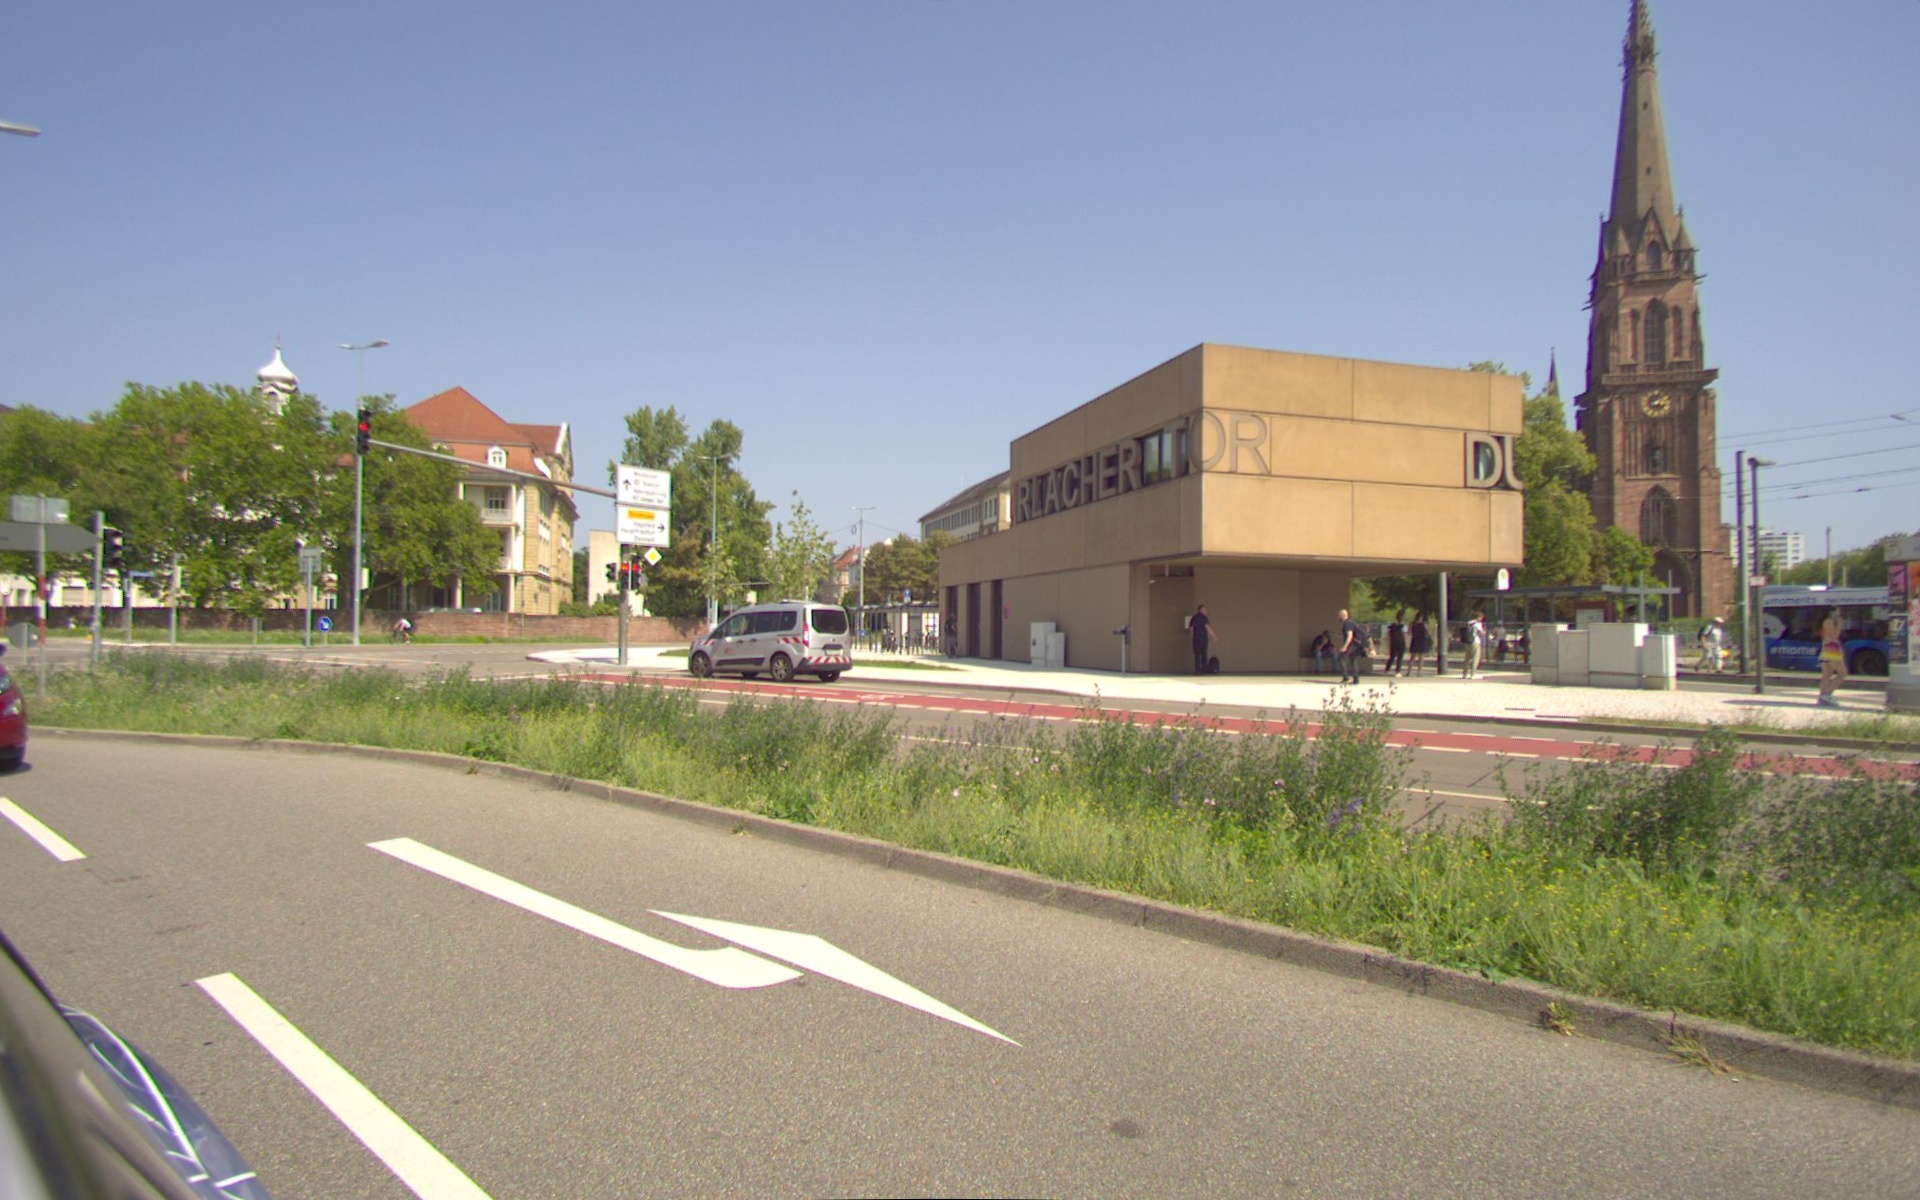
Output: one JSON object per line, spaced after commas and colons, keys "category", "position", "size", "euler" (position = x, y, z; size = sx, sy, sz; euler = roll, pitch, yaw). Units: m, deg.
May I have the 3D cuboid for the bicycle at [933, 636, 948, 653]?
{"category": "bicycle", "position": [-1.213, 2.769, 63.164], "size": [0.518, 1.048, 1.775], "euler": [2, -3, -14]}

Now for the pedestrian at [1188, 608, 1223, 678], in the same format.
{"category": "pedestrian", "position": [6.117, 1.073, 25.257], "size": [0.737, 1.701, 0.632], "euler": [1, -2, 2]}

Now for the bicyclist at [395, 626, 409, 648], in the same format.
{"category": "bicyclist", "position": [-32.343, 2.145, 58.636], "size": [0.429, 1.242, 0.538], "euler": [0, -2, 16]}

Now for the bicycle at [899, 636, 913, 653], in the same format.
{"category": "bicycle", "position": [-3.309, 2.739, 62.091], "size": [0.518, 1.048, 1.775], "euler": [2, -3, -14]}

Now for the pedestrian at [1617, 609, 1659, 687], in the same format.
{"category": "pedestrian", "position": [15.653, 1.109, 23.373], "size": [0.685, 1.776, 0.553], "euler": [2, -2, -30]}

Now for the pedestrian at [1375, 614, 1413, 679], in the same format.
{"category": "pedestrian", "position": [11.172, 1.193, 26.065], "size": [0.628, 1.626, 0.694], "euler": [1, -2, -11]}

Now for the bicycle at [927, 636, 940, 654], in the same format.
{"category": "bicycle", "position": [-1.615, 2.698, 60.495], "size": [0.406, 1.048, 1.645], "euler": [2, -3, -14]}

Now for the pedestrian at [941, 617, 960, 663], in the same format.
{"category": "pedestrian", "position": [-0.352, 1.469, 37.429], "size": [0.559, 1.691, 0.537], "euler": [1, -3, -17]}

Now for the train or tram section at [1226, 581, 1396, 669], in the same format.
{"category": "train or tram section", "position": [15.918, 1.278, 46.731], "size": [3.091, 3.597, 8.269], "euler": [3, -4, -17]}

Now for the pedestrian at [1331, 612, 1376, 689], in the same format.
{"category": "pedestrian", "position": [8.983, 1.141, 23.097], "size": [0.809, 1.715, 0.638], "euler": [-1, -2, 40]}

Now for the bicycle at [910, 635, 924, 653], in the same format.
{"category": "bicycle", "position": [-2.652, 2.695, 62.326], "size": [0.518, 1.048, 1.775], "euler": [2, -3, -14]}

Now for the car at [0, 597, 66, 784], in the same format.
{"category": "car", "position": [-10.345, 0.793, 9.278], "size": [3.978, 1.627, 1.830], "euler": [0, 0, 26]}

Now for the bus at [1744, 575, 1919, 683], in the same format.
{"category": "bus", "position": [29.342, 0.817, 28.088], "size": [3.054, 3.094, 12.519], "euler": [1, -2, -17]}

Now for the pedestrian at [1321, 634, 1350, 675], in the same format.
{"category": "pedestrian", "position": [10.143, 1.461, 27.313], "size": [0.531, 1.092, 0.502], "euler": [1, -2, -18]}

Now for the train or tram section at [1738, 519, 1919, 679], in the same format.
{"category": "train or tram section", "position": [23.229, 0.023, 23.164], "size": [3.091, 3.597, 8.269], "euler": [3, -4, -17]}

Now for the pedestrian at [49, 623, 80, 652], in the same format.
{"category": "pedestrian", "position": [-65.096, 2.723, 73.545], "size": [1.217, 2.029, 1.072], "euler": [1, -3, -1]}

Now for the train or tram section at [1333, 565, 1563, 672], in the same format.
{"category": "train or tram section", "position": [18.342, 0.858, 38.883], "size": [3.091, 3.597, 8.269], "euler": [3, -4, -17]}

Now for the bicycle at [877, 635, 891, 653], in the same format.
{"category": "bicycle", "position": [-4.664, 2.693, 62.008], "size": [0.518, 1.090, 1.870], "euler": [2, -3, -14]}

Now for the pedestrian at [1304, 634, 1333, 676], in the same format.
{"category": "pedestrian", "position": [9.614, 1.468, 27.142], "size": [0.531, 1.092, 0.502], "euler": [1, -2, -18]}

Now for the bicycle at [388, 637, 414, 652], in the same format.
{"category": "bicycle", "position": [-32.353, 2.565, 58.598], "size": [0.433, 0.818, 1.478], "euler": [0, -2, 16]}

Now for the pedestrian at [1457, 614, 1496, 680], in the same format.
{"category": "pedestrian", "position": [13.592, 1.228, 26.624], "size": [0.809, 1.682, 0.544], "euler": [-1, -2, 40]}

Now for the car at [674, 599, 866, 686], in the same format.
{"category": "car", "position": [-4.539, 1.009, 23.975], "size": [4.325, 1.874, 1.976], "euler": [-1, -5, 36]}

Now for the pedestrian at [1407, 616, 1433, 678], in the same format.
{"category": "pedestrian", "position": [12.194, 1.237, 26.837], "size": [0.485, 1.626, 0.509], "euler": [0, -2, 7]}

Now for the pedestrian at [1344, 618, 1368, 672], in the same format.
{"category": "pedestrian", "position": [12.164, 1.379, 31.073], "size": [0.484, 1.626, 0.571], "euler": [0, -2, -2]}

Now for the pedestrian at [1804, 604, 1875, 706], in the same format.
{"category": "pedestrian", "position": [15.118, 0.936, 17.400], "size": [0.773, 1.715, 0.630], "euler": [1, -2, -24]}

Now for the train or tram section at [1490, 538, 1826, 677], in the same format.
{"category": "train or tram section", "position": [20.789, 0.444, 31.021], "size": [3.091, 3.597, 8.269], "euler": [3, -4, -17]}
